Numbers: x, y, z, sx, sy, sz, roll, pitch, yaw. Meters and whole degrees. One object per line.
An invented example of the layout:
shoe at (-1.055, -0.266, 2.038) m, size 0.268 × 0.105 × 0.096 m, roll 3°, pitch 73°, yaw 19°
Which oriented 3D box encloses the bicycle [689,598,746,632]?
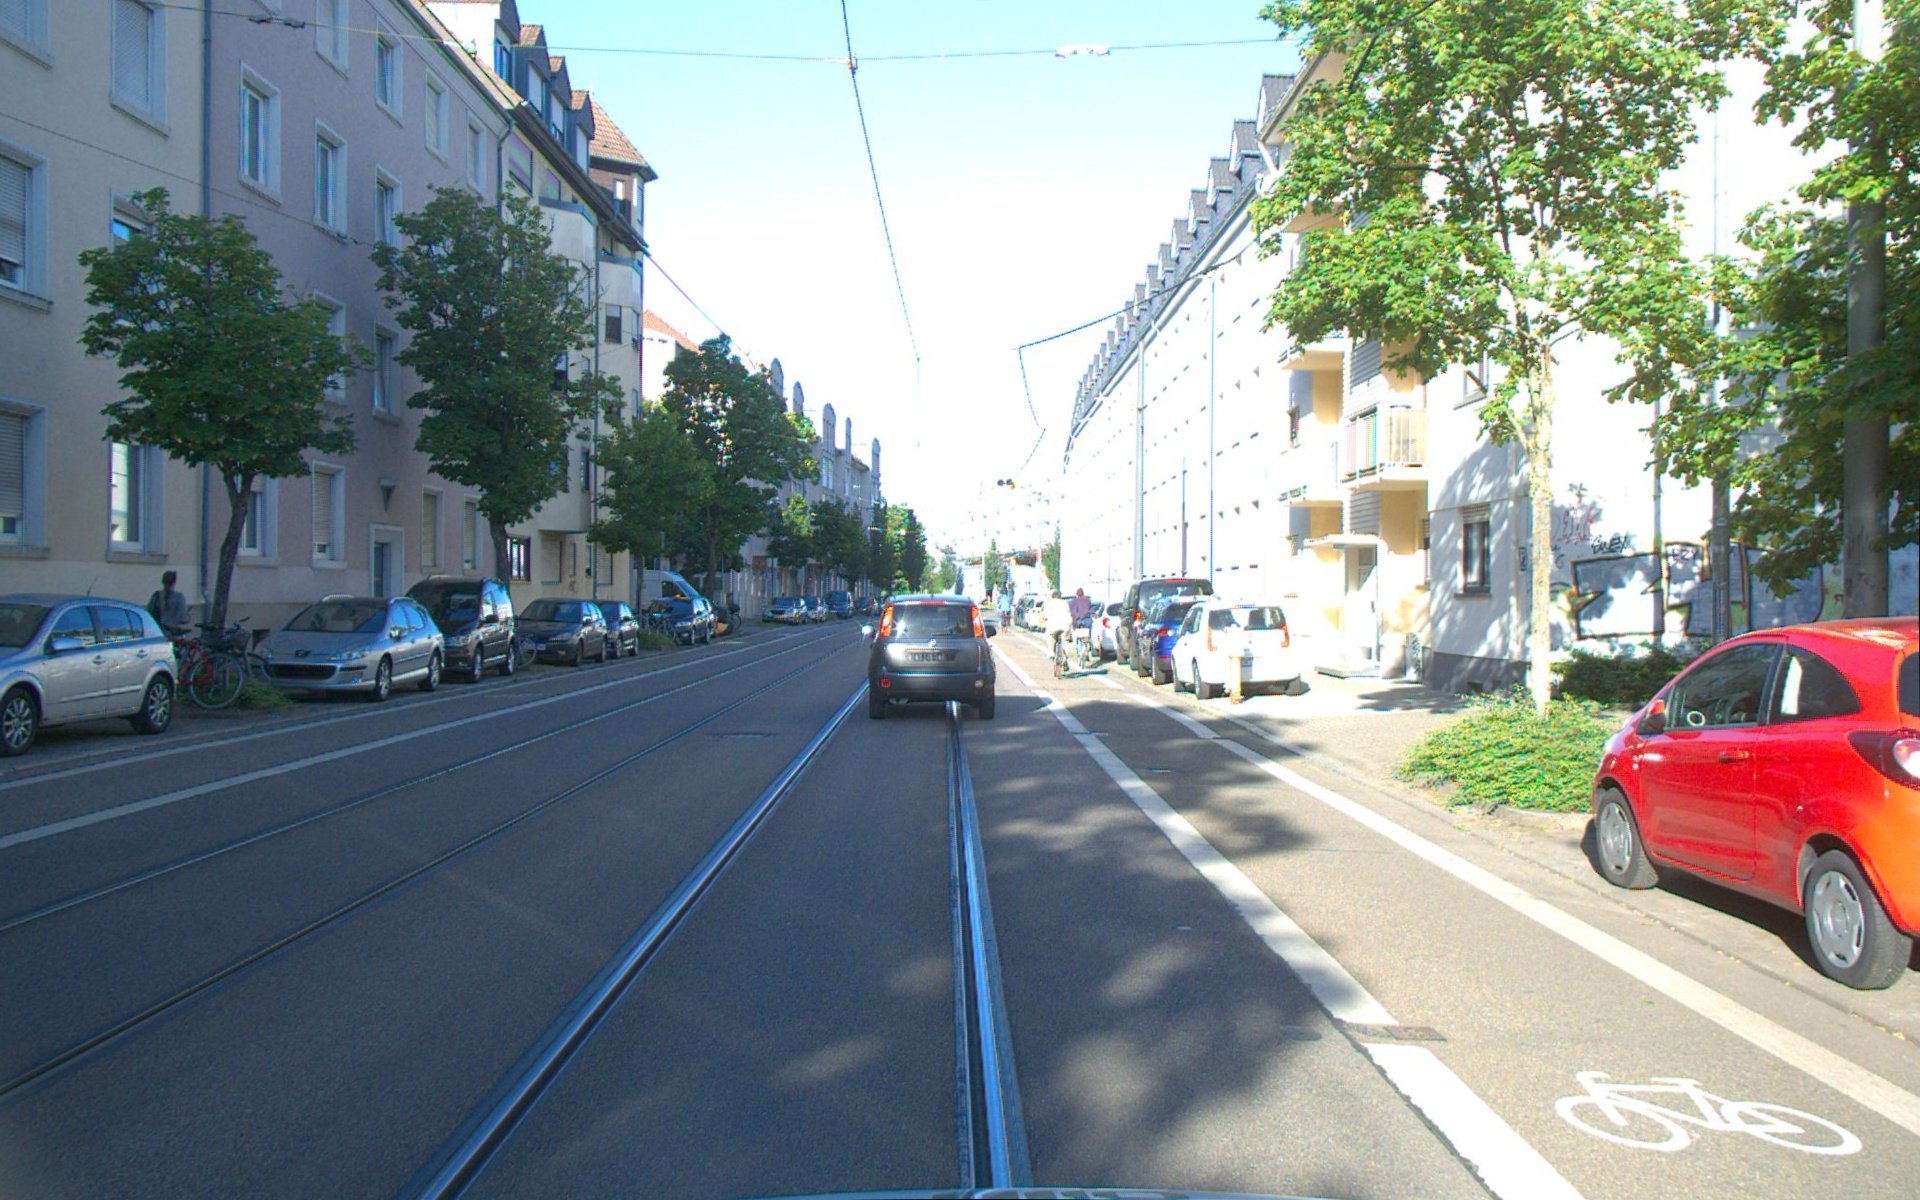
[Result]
bicycle at (-9.978, 0.610, 68.124) m, size 2.231 × 1.310 × 0.757 m, roll 1°, pitch 0°, yaw -6°

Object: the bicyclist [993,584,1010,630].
bicyclist at (1.853, 0.320, 74.174) m, size 0.700 × 2.049 × 0.831 m, roll 1°, pitch 0°, yaw -2°

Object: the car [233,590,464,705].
car at (-9.104, 0.650, 25.064) m, size 1.772 × 1.534 × 4.680 m, roll 1°, pitch 0°, yaw -1°

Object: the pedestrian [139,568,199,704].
pedestrian at (-10.996, 0.499, 23.012) m, size 0.525 × 1.858 × 0.542 m, roll 1°, pitch 0°, yaw -1°

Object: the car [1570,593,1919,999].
car at (4.491, 0.763, 8.198) m, size 1.602 × 1.534 × 3.396 m, roll -2°, pitch 0°, yaw -1°

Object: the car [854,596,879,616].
car at (-7.475, 0.478, 132.597) m, size 1.672 × 1.523 × 3.722 m, roll 1°, pitch 0°, yaw 0°

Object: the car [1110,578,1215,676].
car at (4.373, 0.552, 36.350) m, size 1.622 × 1.978 × 4.663 m, roll 1°, pitch 0°, yaw -1°

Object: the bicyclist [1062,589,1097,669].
bicyclist at (2.719, 0.654, 37.593) m, size 0.685 × 1.790 × 0.757 m, roll 1°, pitch 0°, yaw -2°

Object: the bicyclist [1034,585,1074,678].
bicyclist at (1.842, 0.609, 32.403) m, size 0.685 × 1.790 × 0.757 m, roll 1°, pitch 0°, yaw -2°

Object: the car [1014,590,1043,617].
car at (4.272, 0.227, 103.297) m, size 1.551 × 1.627 × 3.375 m, roll 1°, pitch 0°, yaw -1°

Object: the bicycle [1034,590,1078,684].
bicycle at (1.869, 0.704, 32.471) m, size 0.661 × 1.777 × 2.157 m, roll 1°, pitch 0°, yaw -1°

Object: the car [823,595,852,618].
car at (-8.614, 0.449, 116.697) m, size 1.672 × 1.523 × 3.722 m, roll 1°, pitch 0°, yaw 0°

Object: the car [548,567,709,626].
car at (-14.949, -0.168, 74.745) m, size 6.755 × 2.445 × 2.177 m, roll 1°, pitch 0°, yaw 5°

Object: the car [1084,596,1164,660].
car at (4.103, 0.675, 41.697) m, size 1.622 × 1.526 × 3.129 m, roll 1°, pitch 0°, yaw -1°

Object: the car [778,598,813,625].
car at (-9.722, 0.651, 97.883) m, size 1.672 × 1.523 × 3.722 m, roll 1°, pitch 0°, yaw 0°

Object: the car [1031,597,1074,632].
car at (3.969, 0.612, 71.383) m, size 1.551 × 1.430 × 3.375 m, roll 1°, pitch 0°, yaw -1°

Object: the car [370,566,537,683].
car at (-9.308, 0.417, 30.778) m, size 1.772 × 1.977 × 4.333 m, roll 1°, pitch 0°, yaw -1°

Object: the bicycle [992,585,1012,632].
bicycle at (1.873, 0.376, 74.000) m, size 0.726 × 2.049 × 2.811 m, roll 1°, pitch 0°, yaw -1°

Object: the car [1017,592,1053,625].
car at (3.759, 0.418, 83.283) m, size 1.551 × 1.627 × 3.375 m, roll 1°, pitch 0°, yaw -1°

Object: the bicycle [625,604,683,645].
bicycle at (-9.387, 0.758, 50.751) m, size 1.694 × 1.217 × 0.372 m, roll 1°, pitch 0°, yaw -5°

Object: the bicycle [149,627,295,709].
bicycle at (-9.610, 0.885, 21.573) m, size 1.637 × 1.019 × 0.475 m, roll 1°, pitch 0°, yaw -12°

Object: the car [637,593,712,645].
car at (-9.295, 0.591, 54.143) m, size 1.798 × 1.583 × 3.999 m, roll 1°, pitch 0°, yaw -1°

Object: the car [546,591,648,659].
car at (-9.452, 0.622, 43.385) m, size 1.772 × 1.648 × 4.063 m, roll 1°, pitch 0°, yaw -1°

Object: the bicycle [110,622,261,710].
bicycle at (-9.595, 0.813, 20.503) m, size 1.632 × 1.019 × 0.477 m, roll 1°, pitch 0°, yaw 2°

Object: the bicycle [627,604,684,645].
bicycle at (-9.489, 0.757, 51.559) m, size 1.694 × 1.217 × 0.372 m, roll 1°, pitch 0°, yaw -5°

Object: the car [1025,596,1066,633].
car at (3.883, 0.633, 75.581) m, size 1.551 × 1.627 × 3.375 m, roll 1°, pitch 0°, yaw -1°

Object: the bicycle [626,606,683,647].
bicycle at (-9.442, 0.808, 51.146) m, size 1.694 × 1.217 × 0.372 m, roll 1°, pitch 0°, yaw -5°

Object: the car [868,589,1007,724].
car at (-0.269, 0.667, 21.854) m, size 1.616 × 1.568 × 4.234 m, roll 1°, pitch 0°, yaw 0°

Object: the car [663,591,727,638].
car at (-9.483, 0.506, 59.389) m, size 1.798 × 1.583 × 3.376 m, roll 1°, pitch 0°, yaw -1°

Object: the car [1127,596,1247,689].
car at (4.208, 0.745, 31.153) m, size 1.622 × 1.599 × 3.875 m, roll 1°, pitch 0°, yaw -1°

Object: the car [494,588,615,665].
car at (-9.254, 0.572, 38.040) m, size 1.772 × 1.648 × 4.063 m, roll 1°, pitch 0°, yaw -1°

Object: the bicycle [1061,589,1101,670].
bicycle at (2.745, 0.648, 37.654) m, size 0.661 × 1.777 × 2.157 m, roll 1°, pitch 0°, yaw -1°

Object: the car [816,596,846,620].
car at (-8.620, 0.535, 111.101) m, size 1.672 × 1.523 × 3.722 m, roll 1°, pitch 0°, yaw 0°

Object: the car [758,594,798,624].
car at (-9.690, 0.450, 88.402) m, size 1.672 × 1.523 × 3.722 m, roll 1°, pitch 0°, yaw 0°

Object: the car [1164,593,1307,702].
car at (4.353, 0.705, 26.590) m, size 1.622 × 1.599 × 3.498 m, roll 1°, pitch 0°, yaw -1°

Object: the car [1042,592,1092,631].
car at (4.046, 0.418, 62.939) m, size 1.551 × 1.430 × 3.375 m, roll 1°, pitch 0°, yaw -1°

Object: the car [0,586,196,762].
car at (-9.354, 0.639, 16.221) m, size 1.772 × 1.534 × 4.190 m, roll 1°, pitch 0°, yaw -1°

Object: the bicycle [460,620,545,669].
bicycle at (-9.493, 0.917, 34.340) m, size 1.600 × 0.954 × 0.516 m, roll 1°, pitch 0°, yaw -5°

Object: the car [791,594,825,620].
car at (-9.417, 0.434, 102.719) m, size 1.672 × 1.523 × 3.722 m, roll 1°, pitch 0°, yaw 0°
